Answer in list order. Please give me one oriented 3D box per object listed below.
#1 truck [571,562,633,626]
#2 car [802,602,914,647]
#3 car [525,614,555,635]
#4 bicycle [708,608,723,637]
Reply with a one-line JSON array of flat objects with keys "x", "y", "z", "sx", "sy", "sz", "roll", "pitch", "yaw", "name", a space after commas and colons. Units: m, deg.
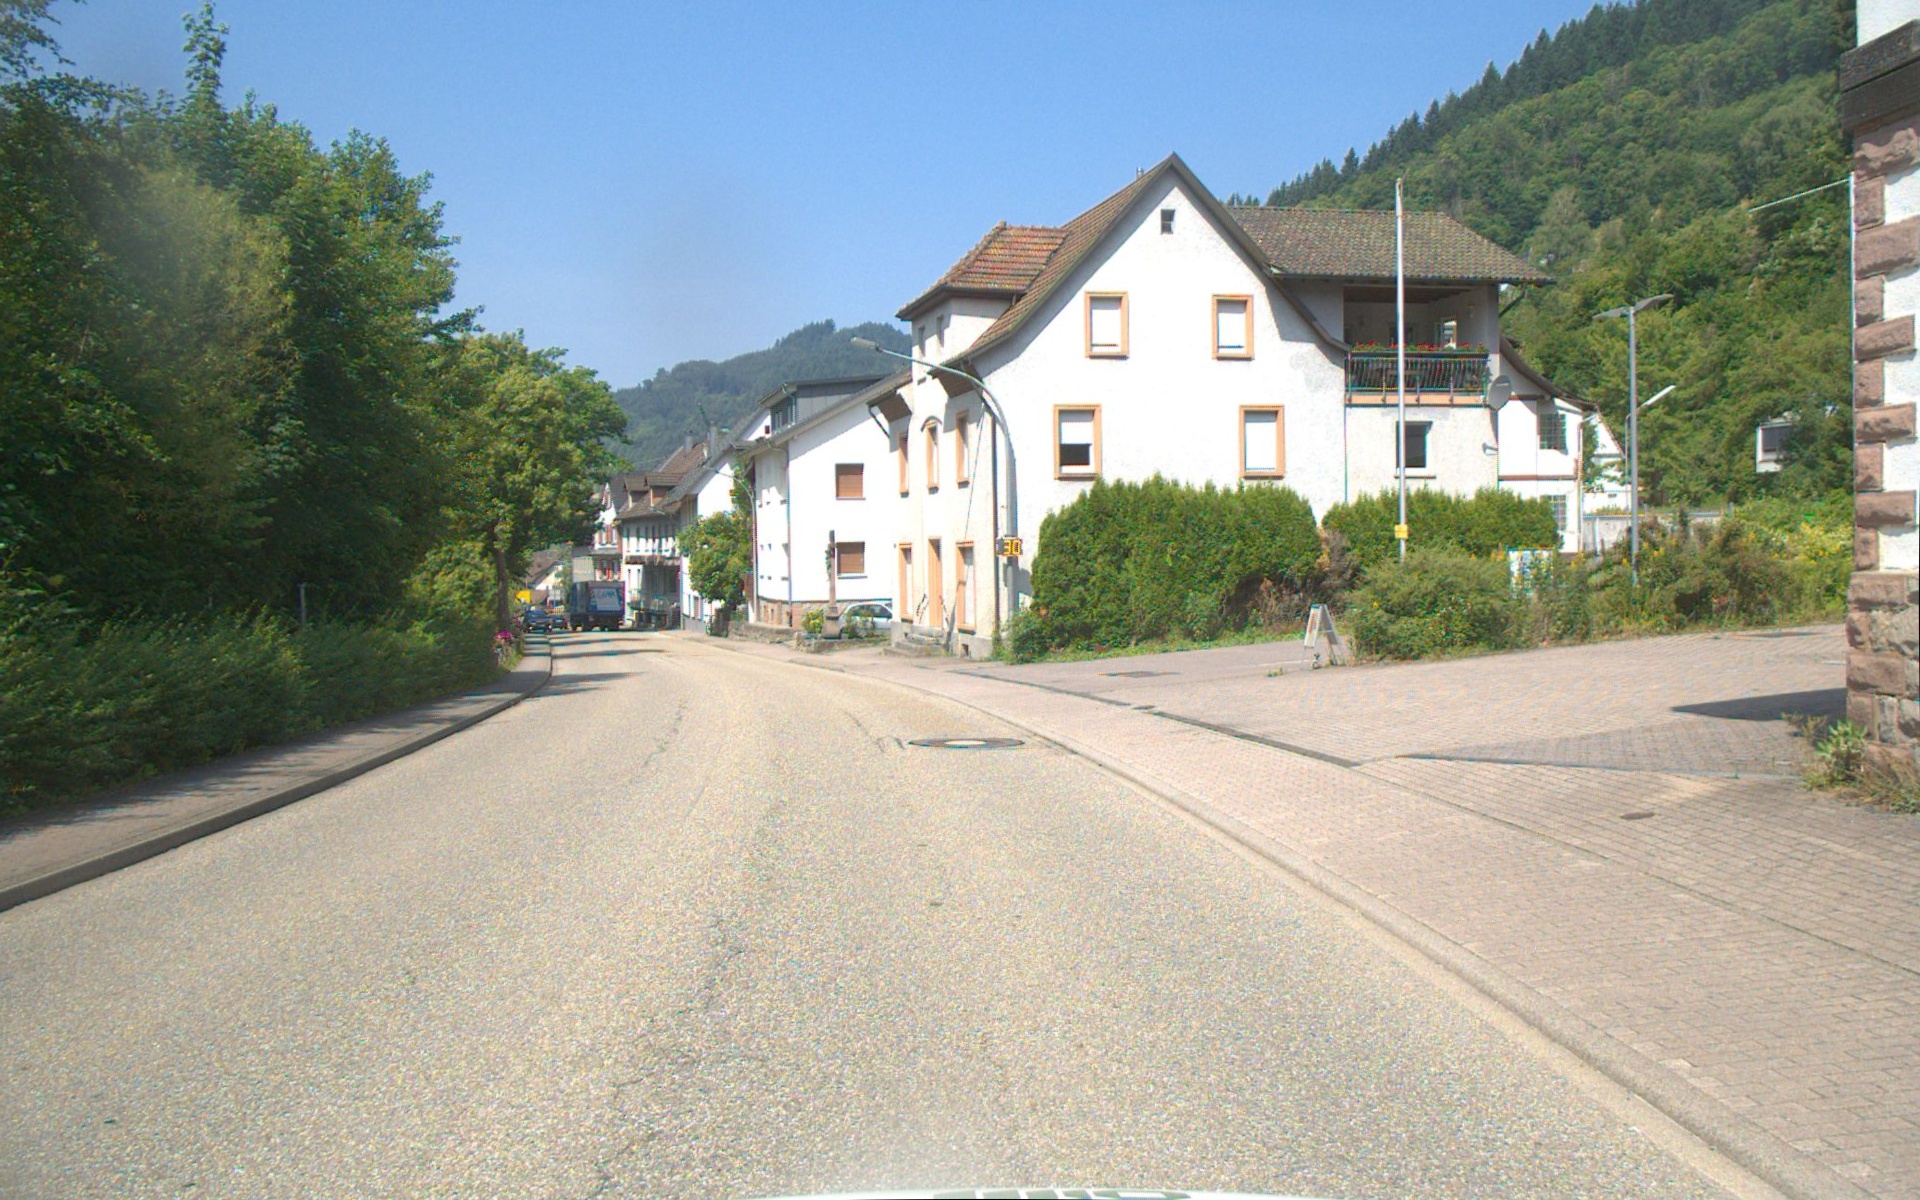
[{"x": -25.309, "y": -0.378, "z": 116.584, "sx": 3.312, "sy": 3.847, "sz": 8.397, "roll": -5, "pitch": -1, "yaw": -18, "name": "truck"}, {"x": -3.664, "y": 0.877, "z": 59.342, "sx": 3.695, "sy": 1.452, "sz": 1.606, "roll": -3, "pitch": 0, "yaw": 31, "name": "car"}, {"x": -30.701, "y": 1.800, "z": 120.797, "sx": 1.642, "sy": 1.442, "sz": 4.062, "roll": -3, "pitch": 0, "yaw": -20, "name": "car"}, {"x": -12.336, "y": 1.129, "z": 83.364, "sx": 0.418, "sy": 1.420, "sz": 2.269, "roll": -5, "pitch": 1, "yaw": -14, "name": "bicycle"}]
